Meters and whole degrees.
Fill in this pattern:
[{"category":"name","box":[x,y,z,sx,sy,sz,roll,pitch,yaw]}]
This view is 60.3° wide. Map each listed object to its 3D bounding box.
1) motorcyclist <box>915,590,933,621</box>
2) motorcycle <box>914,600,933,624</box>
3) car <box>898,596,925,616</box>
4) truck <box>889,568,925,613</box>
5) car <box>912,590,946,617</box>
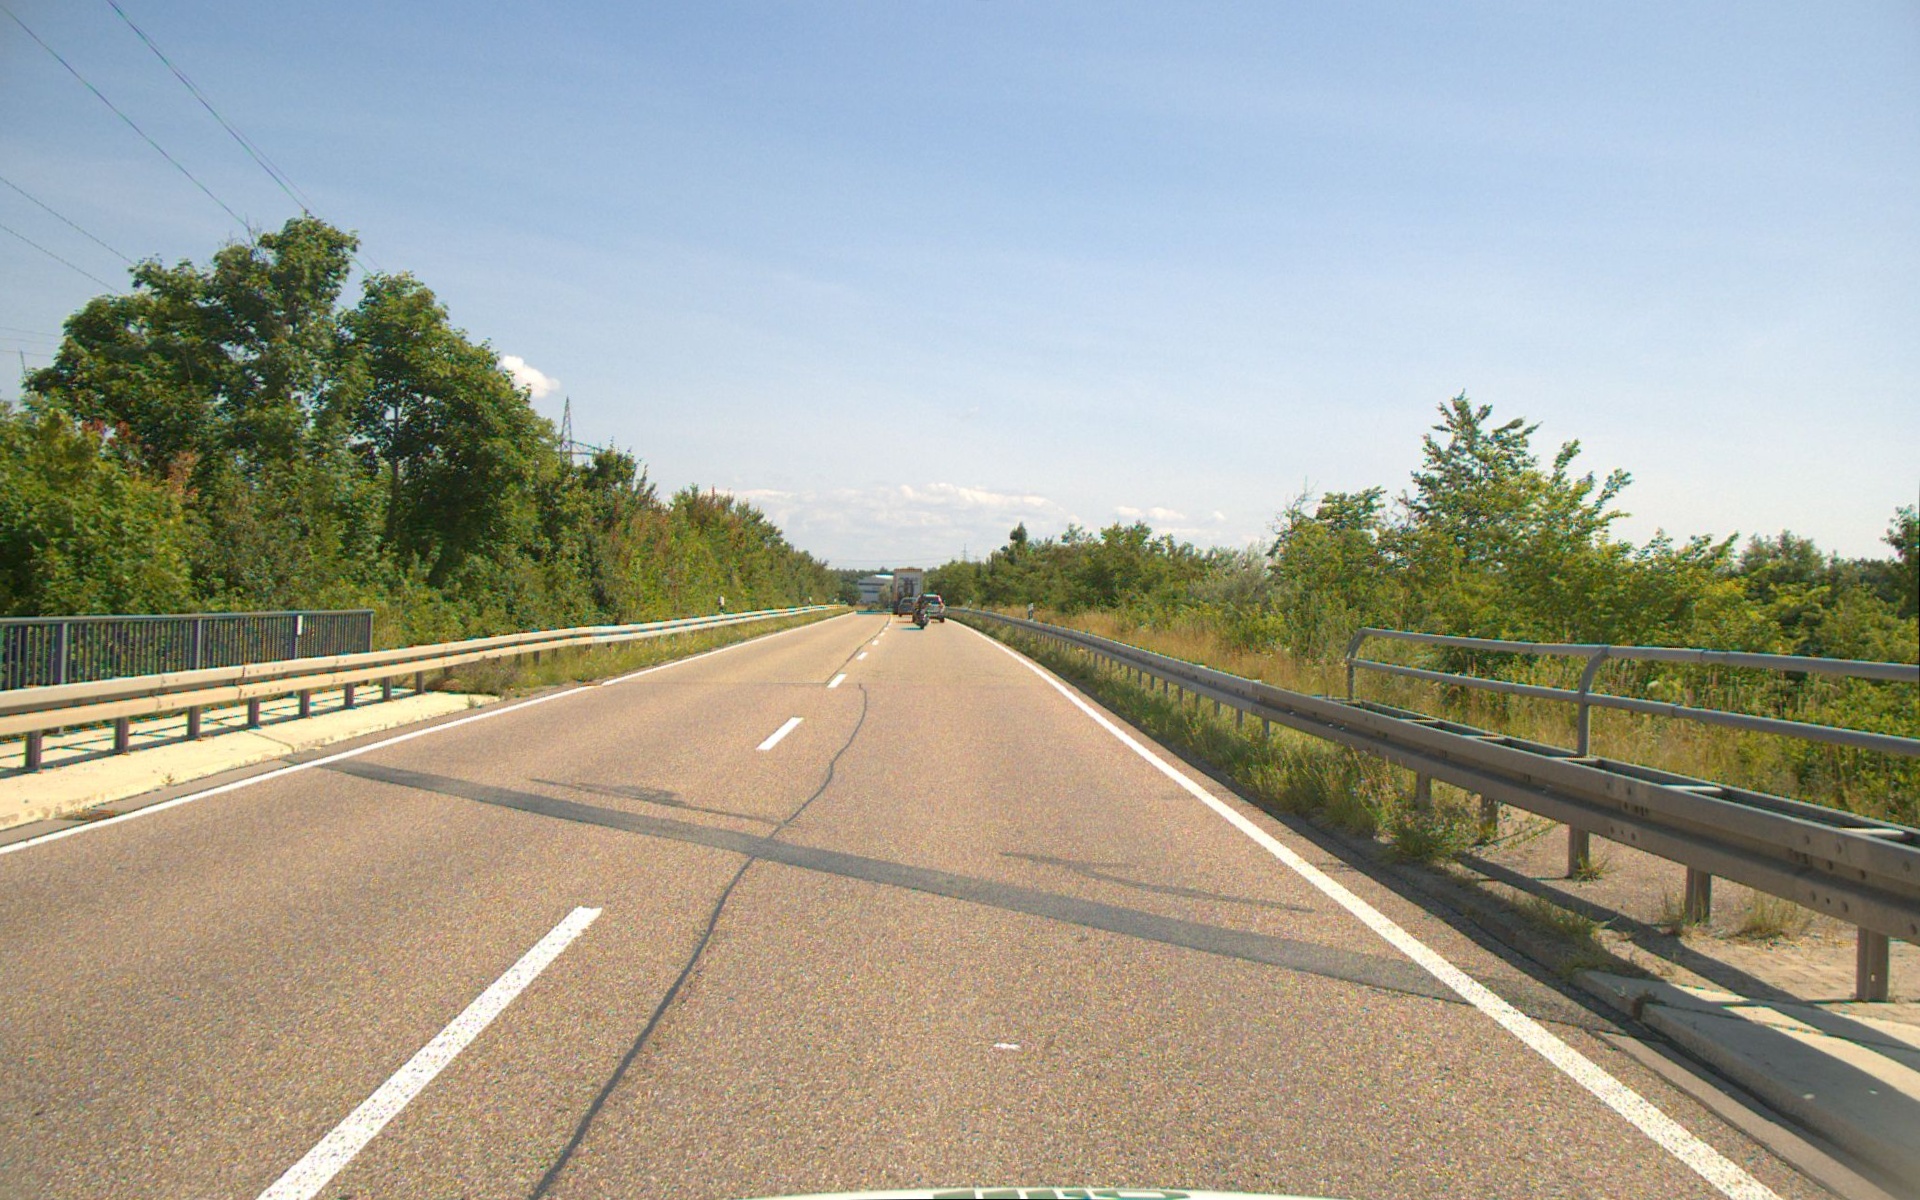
[{"category":"motorcyclist","box":[-1.605,0.240,73.665,0.764,1.348,0.813,1,1,1]},{"category":"motorcycle","box":[-1.619,0.526,73.648,0.764,0.992,2.362,1,1,1]},{"category":"car","box":[-3.696,0.422,126.183,1.827,1.445,4.001,1,1,1]},{"category":"truck","box":[-4.979,-0.897,153.315,3.177,4.048,9.438,1,0,-3]},{"category":"car","box":[-1.768,0.186,94.368,1.789,1.476,3.998,1,1,-3]}]
